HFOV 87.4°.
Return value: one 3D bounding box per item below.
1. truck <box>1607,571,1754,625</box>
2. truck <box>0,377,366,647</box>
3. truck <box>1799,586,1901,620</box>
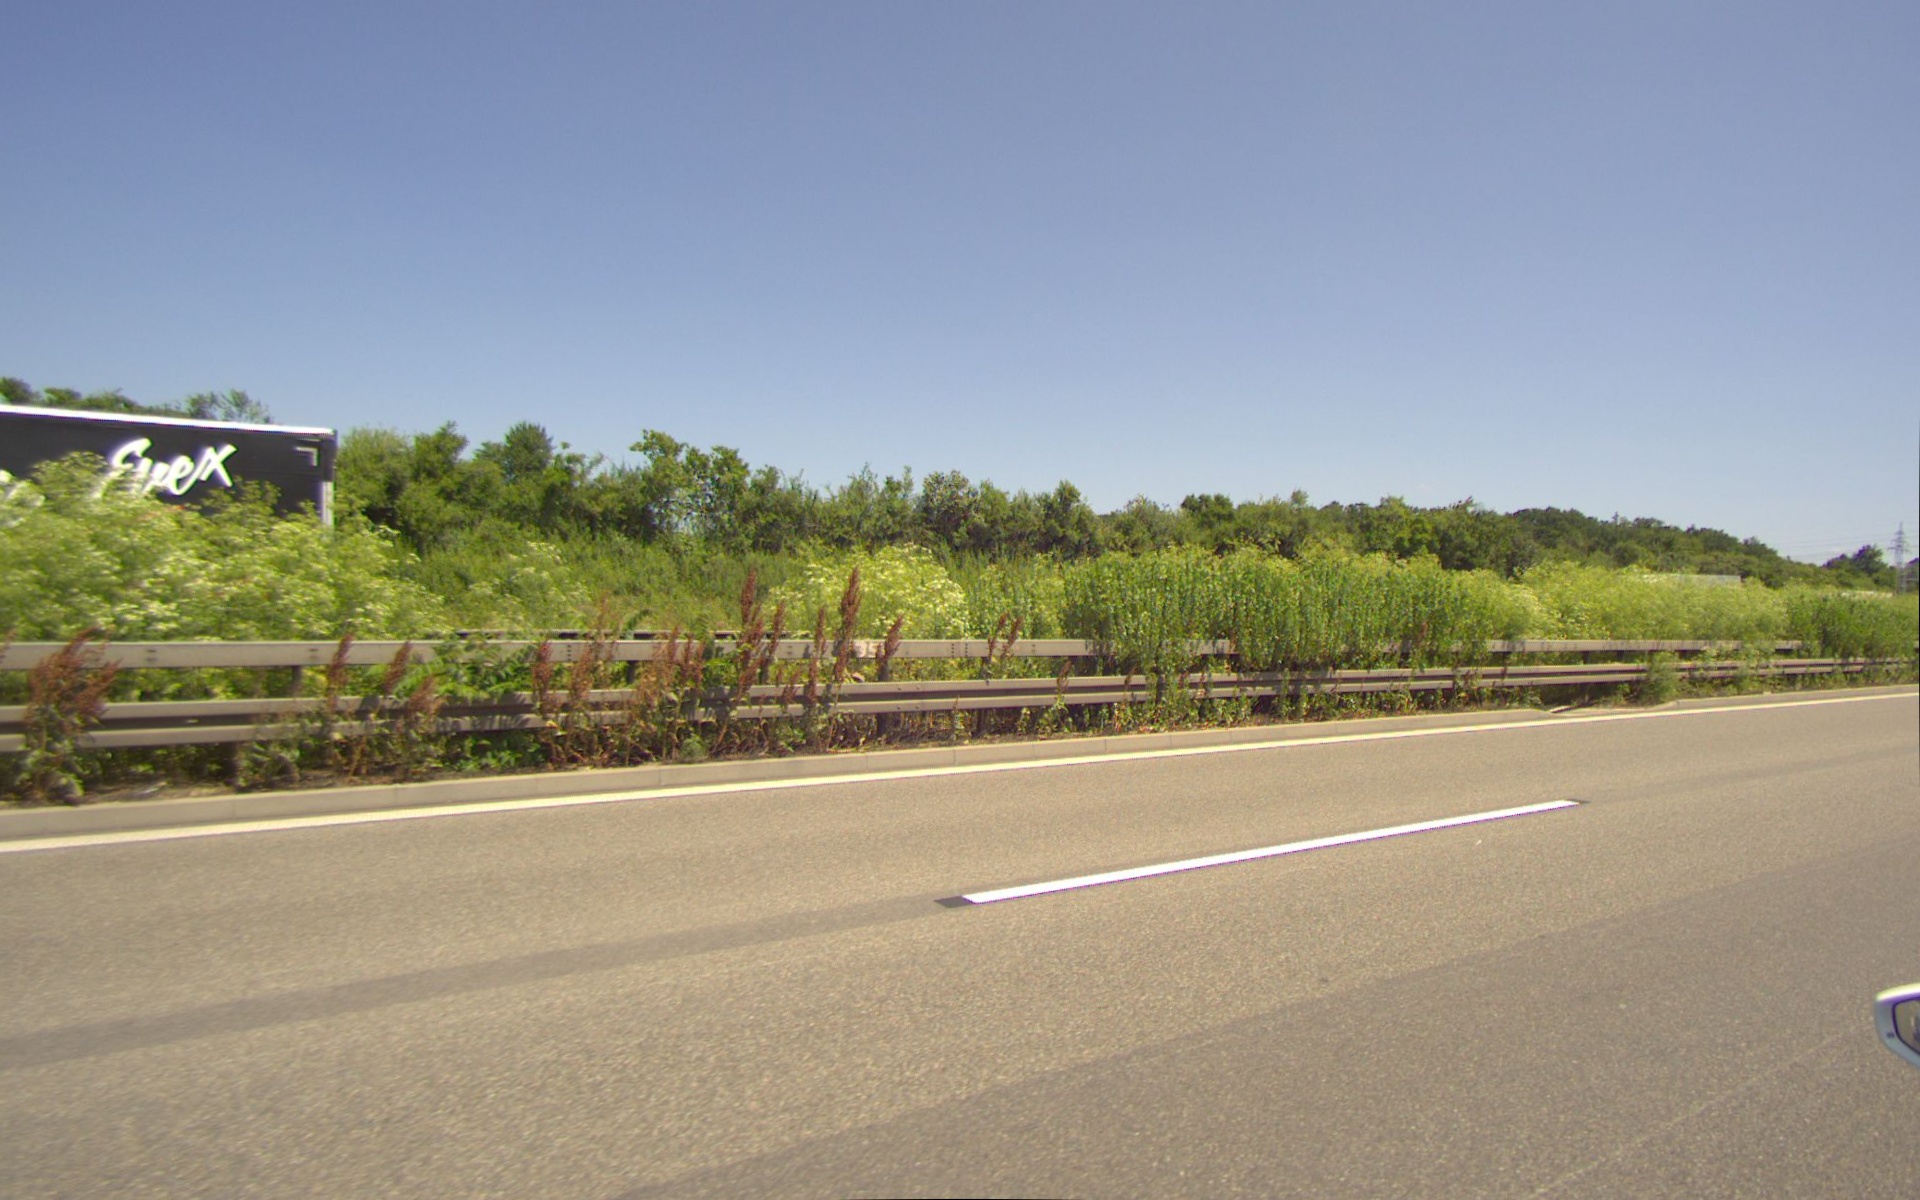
[{"bbox_3d":[29.081,-0.023,40.466,6.721,2.040,2.478,1,-1,-32],"label":"truck"},{"bbox_3d":[-17.998,-1.329,12.360,18.326,3.660,3.211,1,2,-32],"label":"truck"},{"bbox_3d":[57.051,0.254,64.307,9.756,2.040,2.636,1,-1,-35],"label":"truck"}]
